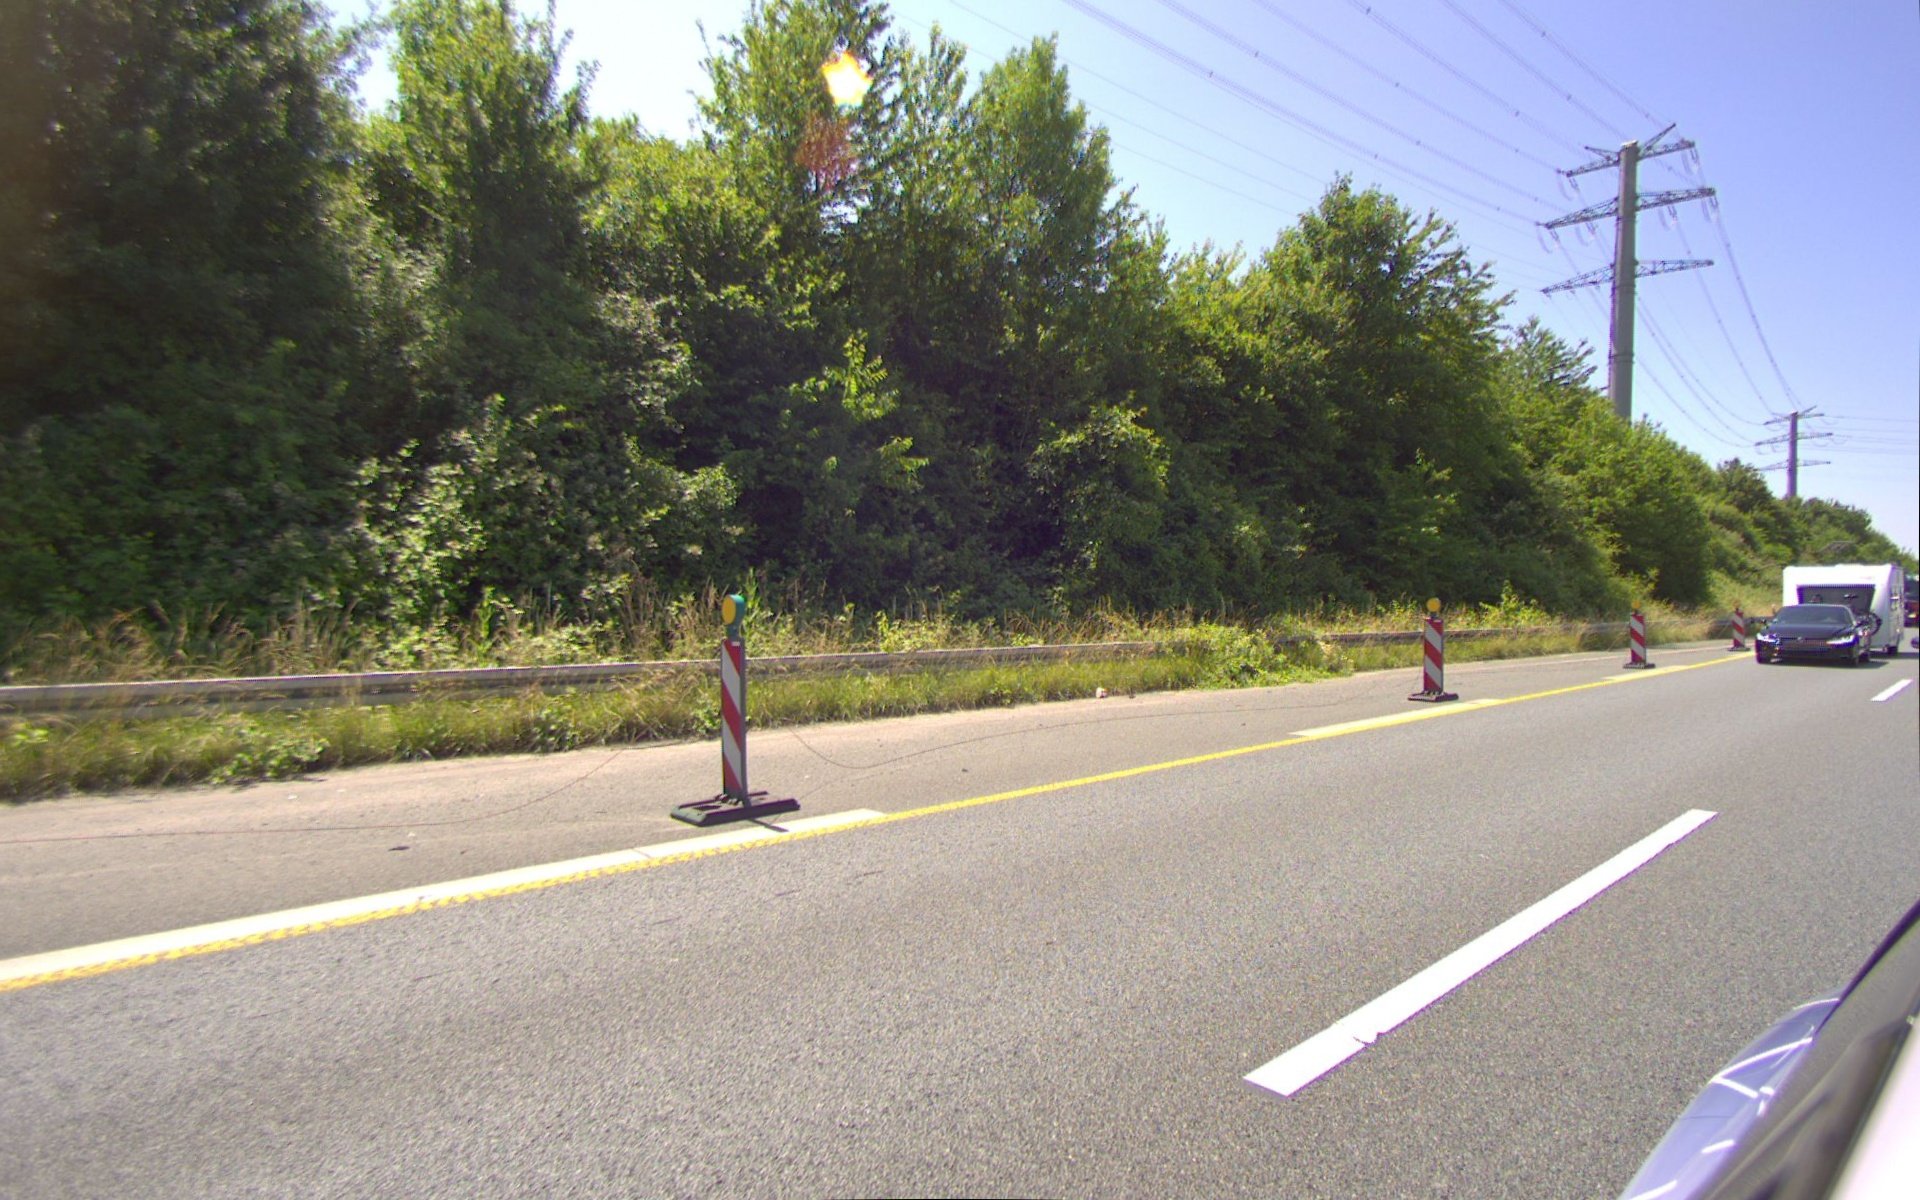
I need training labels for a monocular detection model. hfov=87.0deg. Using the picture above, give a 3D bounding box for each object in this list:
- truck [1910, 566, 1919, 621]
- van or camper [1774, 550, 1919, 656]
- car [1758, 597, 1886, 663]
[{"bbox_3d":[59.114,-0.382,60.529,7.512,3.181,2.429,0,-2,-40],"label":"truck"},{"bbox_3d":[25.293,0.066,28.497,8.273,2.597,2.429,0,0,-42],"label":"van or camper"},{"bbox_3d":[20.724,0.653,24.278,4.137,1.425,1.798,0,0,-42],"label":"car"}]
